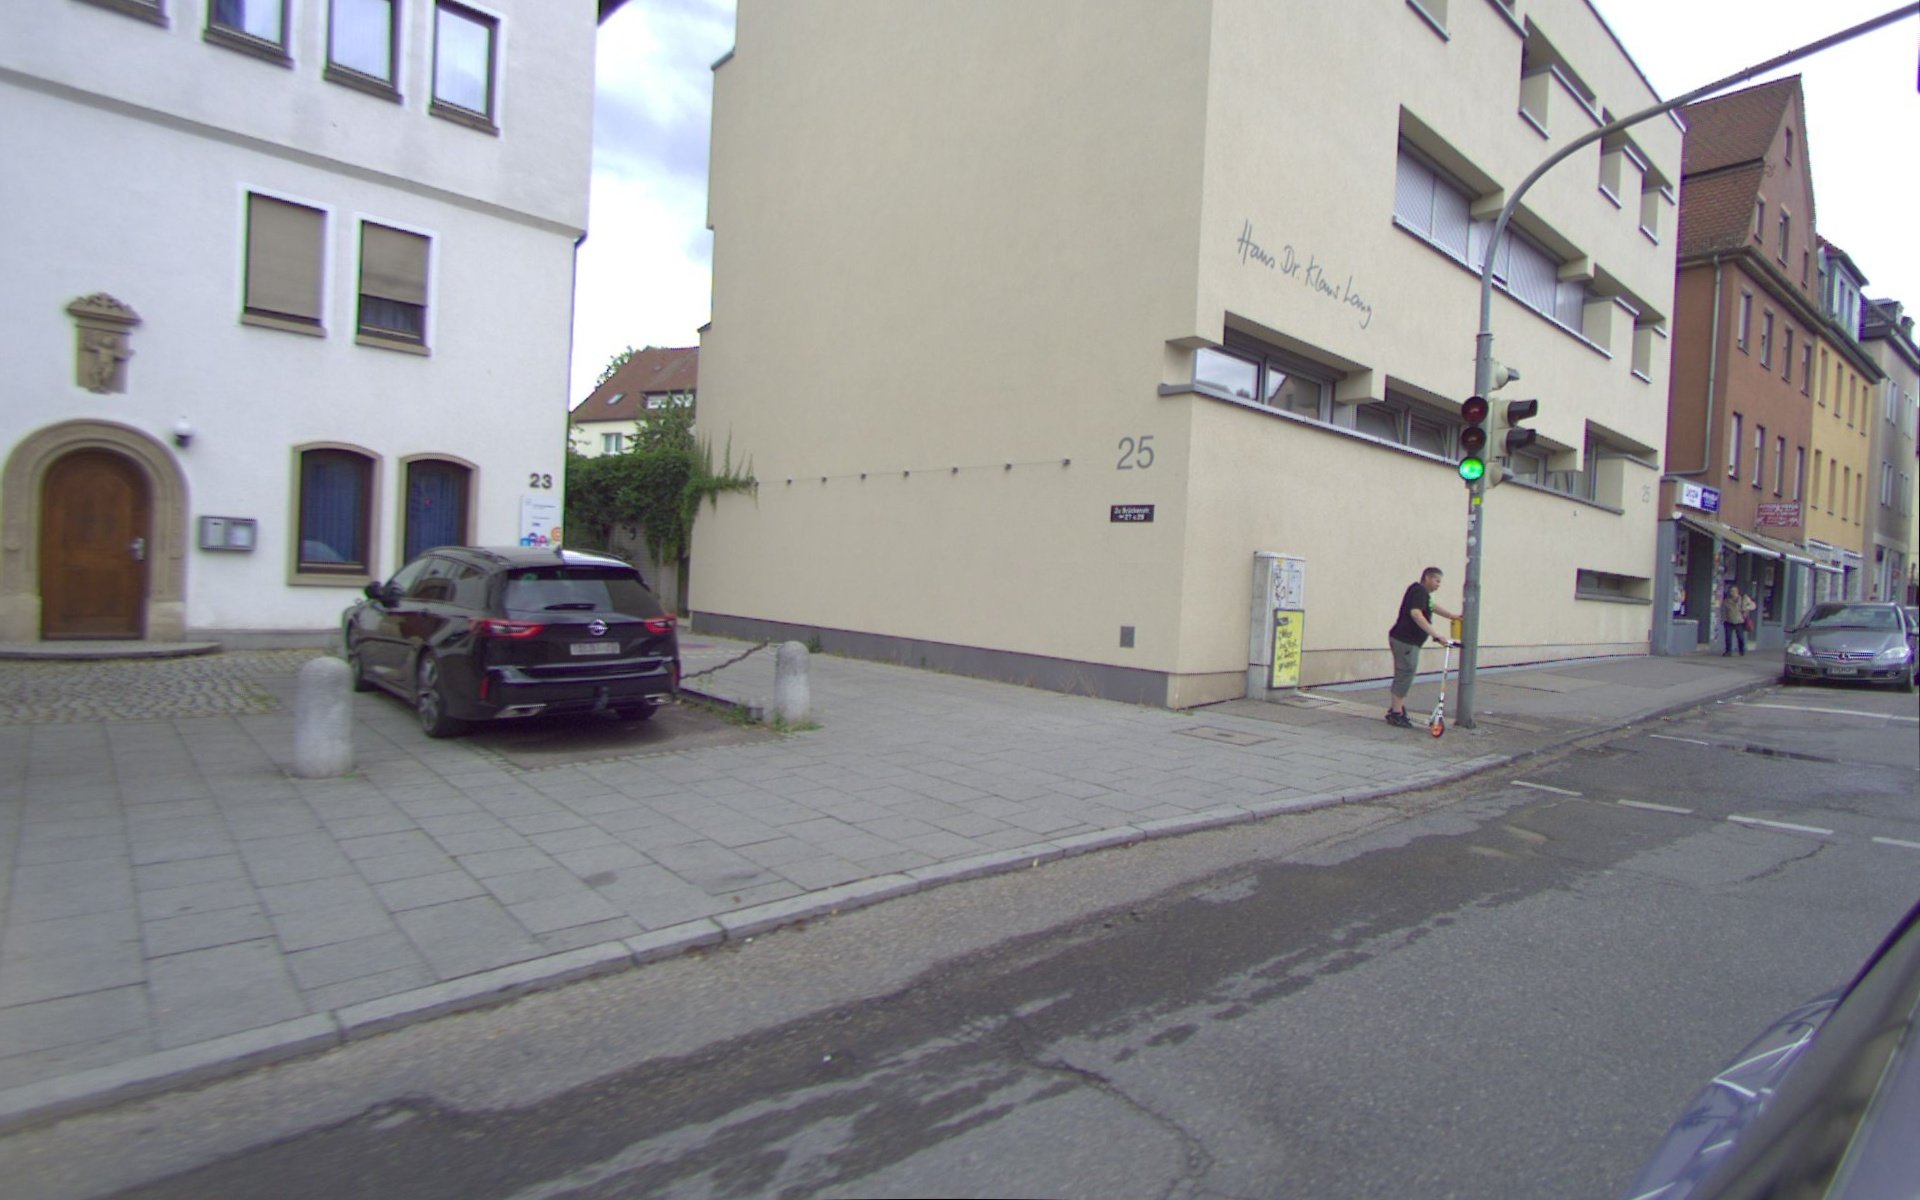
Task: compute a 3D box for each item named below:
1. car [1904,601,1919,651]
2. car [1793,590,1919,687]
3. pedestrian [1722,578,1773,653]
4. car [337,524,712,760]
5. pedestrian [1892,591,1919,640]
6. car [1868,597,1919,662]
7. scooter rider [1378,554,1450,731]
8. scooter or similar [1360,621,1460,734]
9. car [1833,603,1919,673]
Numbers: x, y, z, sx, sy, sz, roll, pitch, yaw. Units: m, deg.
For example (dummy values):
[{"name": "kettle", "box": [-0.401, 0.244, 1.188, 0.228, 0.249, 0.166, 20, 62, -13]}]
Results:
[{"name": "car", "box": [29.699, 0.812, 30.147, 4.431, 1.423, 1.755, 1, 2, -40]}, {"name": "car", "box": [17.026, 0.669, 18.900, 3.720, 1.580, 1.714, 1, 1, -42]}, {"name": "pedestrian", "box": [18.435, 0.360, 23.702, 0.873, 1.669, 0.702, 2, 2, -42]}, {"name": "car", "box": [-4.150, 0.158, 9.157, 1.820, 1.593, 4.520, 0, 3, -41]}, {"name": "pedestrian", "box": [33.616, 0.552, 35.899, 0.965, 1.673, 0.616, 2, 3, -42]}, {"name": "car", "box": [24.588, 0.751, 25.958, 4.139, 1.537, 1.603, 1, 1, -44]}, {"name": "scooter rider", "box": [4.451, 0.393, 9.918, 0.451, 1.651, 0.499, 6, 5, 34]}, {"name": "scooter or similar", "box": [4.426, 0.736, 9.942, 0.660, 0.957, 0.809, 6, 5, 38]}, {"name": "car", "box": [20.450, 0.799, 22.146, 3.747, 1.349, 1.553, 1, 1, -42]}]
